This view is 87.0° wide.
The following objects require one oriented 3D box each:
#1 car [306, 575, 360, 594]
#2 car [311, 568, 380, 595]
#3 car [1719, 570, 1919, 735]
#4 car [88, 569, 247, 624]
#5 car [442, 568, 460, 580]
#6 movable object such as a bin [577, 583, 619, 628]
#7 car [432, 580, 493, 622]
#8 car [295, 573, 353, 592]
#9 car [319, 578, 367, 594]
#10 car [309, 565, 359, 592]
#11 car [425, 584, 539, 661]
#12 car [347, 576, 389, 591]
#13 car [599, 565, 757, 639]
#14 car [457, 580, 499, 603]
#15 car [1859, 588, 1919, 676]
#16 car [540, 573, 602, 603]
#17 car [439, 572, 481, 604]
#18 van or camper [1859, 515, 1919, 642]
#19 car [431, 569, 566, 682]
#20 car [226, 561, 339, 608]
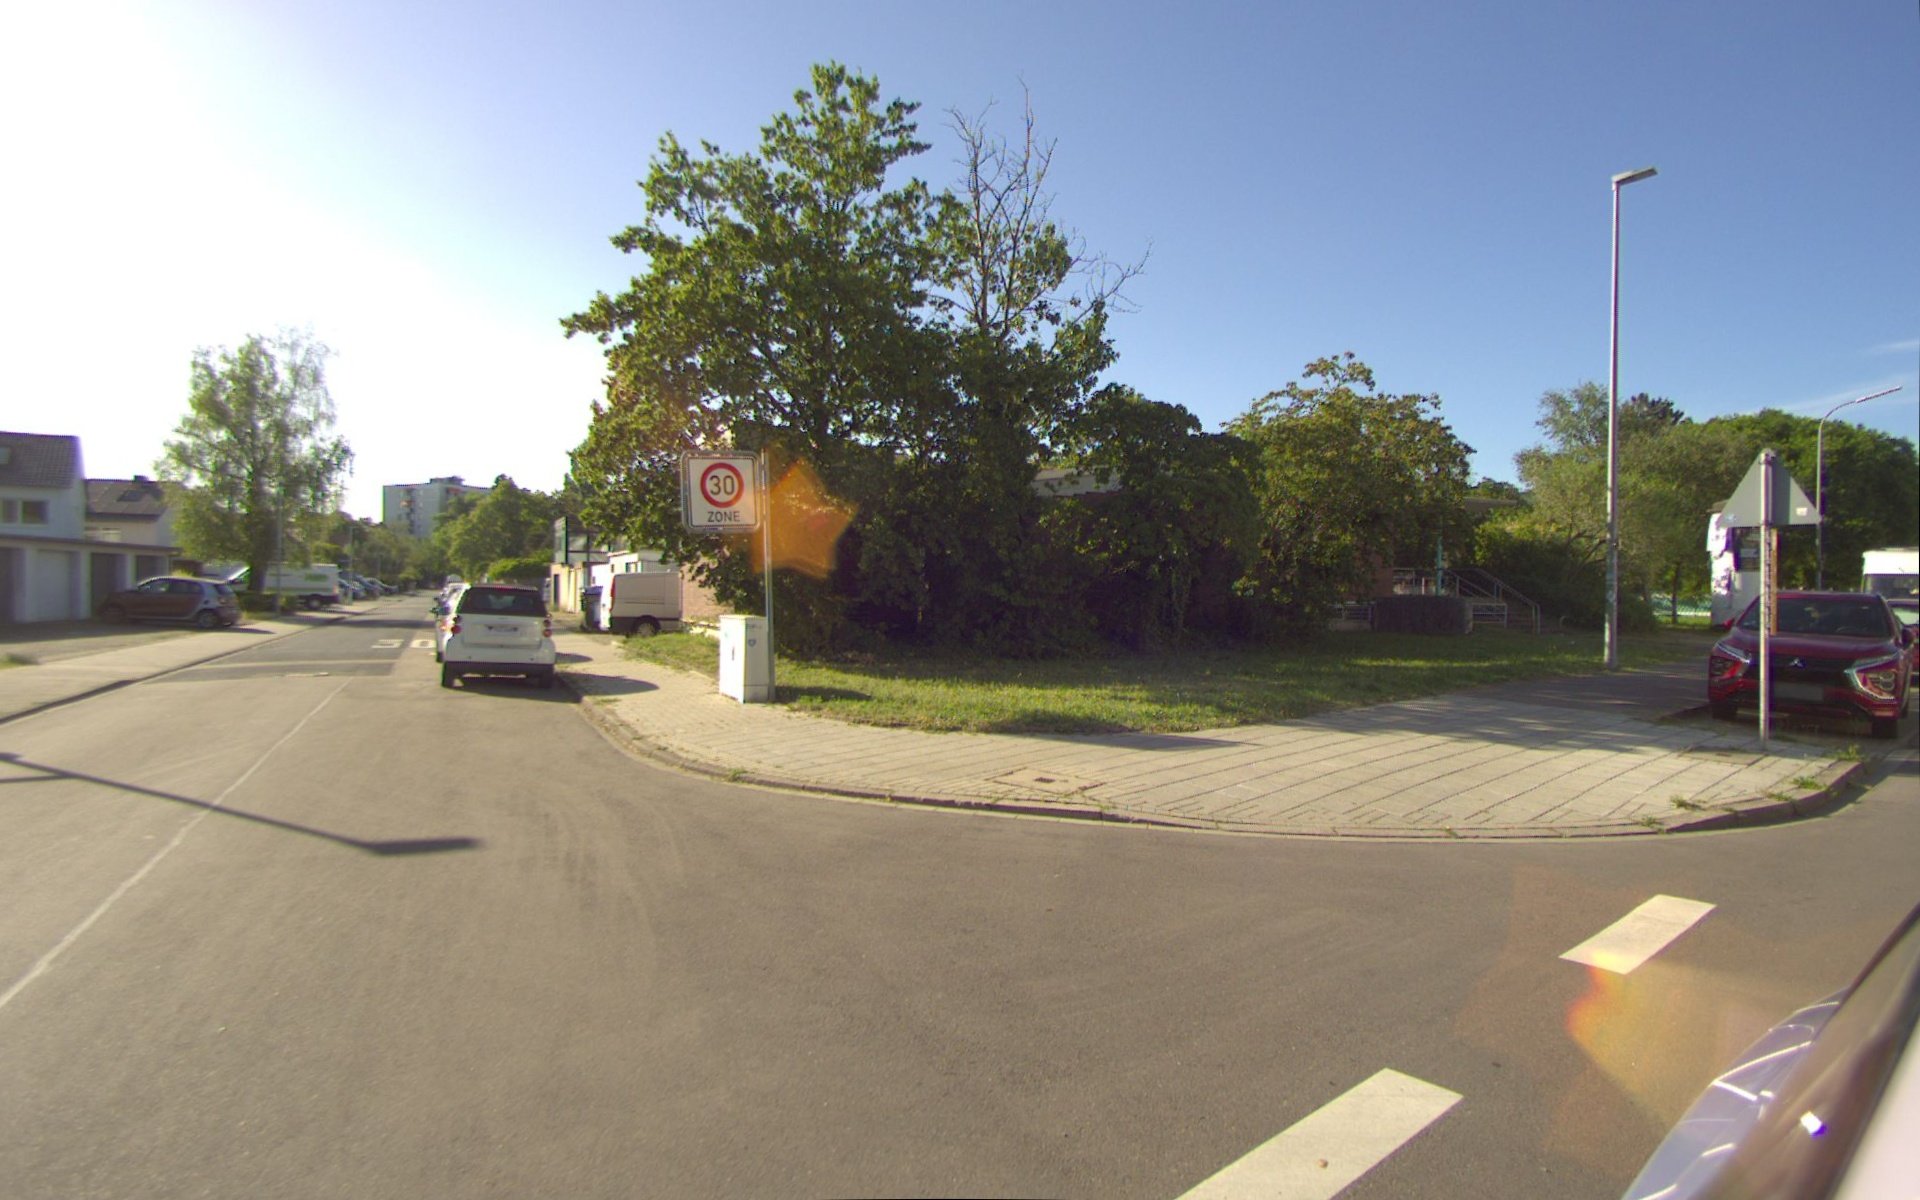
[{"bbox_3d":[-55.480,-1.372,89.576,3.927,1.571,1.998,-1,1,-38],"label":"car"},{"bbox_3d":[-58.614,-1.720,96.526,5.366,2.486,2.786,-1,1,-38],"label":"car"},{"bbox_3d":[11.320,0.515,13.016,4.569,1.700,1.777,-1,4,-45],"label":"car"},{"bbox_3d":[-24.918,-0.109,31.965,3.516,1.507,1.677,3,0,-19],"label":"car"},{"bbox_3d":[-69.698,-3.521,138.480,1.818,1.580,4.249,0,1,-31],"label":"car"},{"bbox_3d":[-11.603,0.139,32.378,1.215,1.390,2.574,0,1,-21],"label":"movable object such as a bin"},{"bbox_3d":[-18.197,-0.016,36.916,1.818,1.428,4.251,0,1,-28],"label":"car"},{"bbox_3d":[-53.109,-1.454,84.522,3.927,1.571,1.998,-1,1,-38],"label":"car"},{"bbox_3d":[-61.928,-1.450,101.566,3.927,1.571,1.998,-1,1,-38],"label":"car"},{"bbox_3d":[-66.553,-2.291,107.547,4.332,2.807,1.998,0,1,-38],"label":"car"},{"bbox_3d":[-10.172,0.380,21.365,1.929,1.428,4.505,0,1,-28],"label":"car"},{"bbox_3d":[-66.559,-1.863,113.816,3.927,1.571,1.998,-1,1,-38],"label":"car"},{"bbox_3d":[-7.702,0.028,27.676,3.918,1.892,1.702,0,1,-27],"label":"car"},{"bbox_3d":[-34.432,-0.634,72.256,1.821,1.580,4.243,-1,1,-38],"label":"car"},{"bbox_3d":[18.189,0.552,18.915,3.932,1.492,1.693,-1,2,-43],"label":"car"},{"bbox_3d":[-28.393,-0.916,74.004,1.687,2.115,3.992,0,1,35],"label":"car"},{"bbox_3d":[-26.357,-0.634,53.274,1.818,1.580,4.251,0,1,-28],"label":"car"},{"bbox_3d":[24.329,-0.518,25.096,6.738,2.880,2.499,-1,2,-44],"label":"van or camper"},{"bbox_3d":[-7.373,0.372,16.040,1.666,1.583,2.968,3,-1,-29],"label":"car"},{"bbox_3d":[-36.453,-0.856,54.491,4.979,2.429,1.999,-1,1,-37],"label":"car"}]
